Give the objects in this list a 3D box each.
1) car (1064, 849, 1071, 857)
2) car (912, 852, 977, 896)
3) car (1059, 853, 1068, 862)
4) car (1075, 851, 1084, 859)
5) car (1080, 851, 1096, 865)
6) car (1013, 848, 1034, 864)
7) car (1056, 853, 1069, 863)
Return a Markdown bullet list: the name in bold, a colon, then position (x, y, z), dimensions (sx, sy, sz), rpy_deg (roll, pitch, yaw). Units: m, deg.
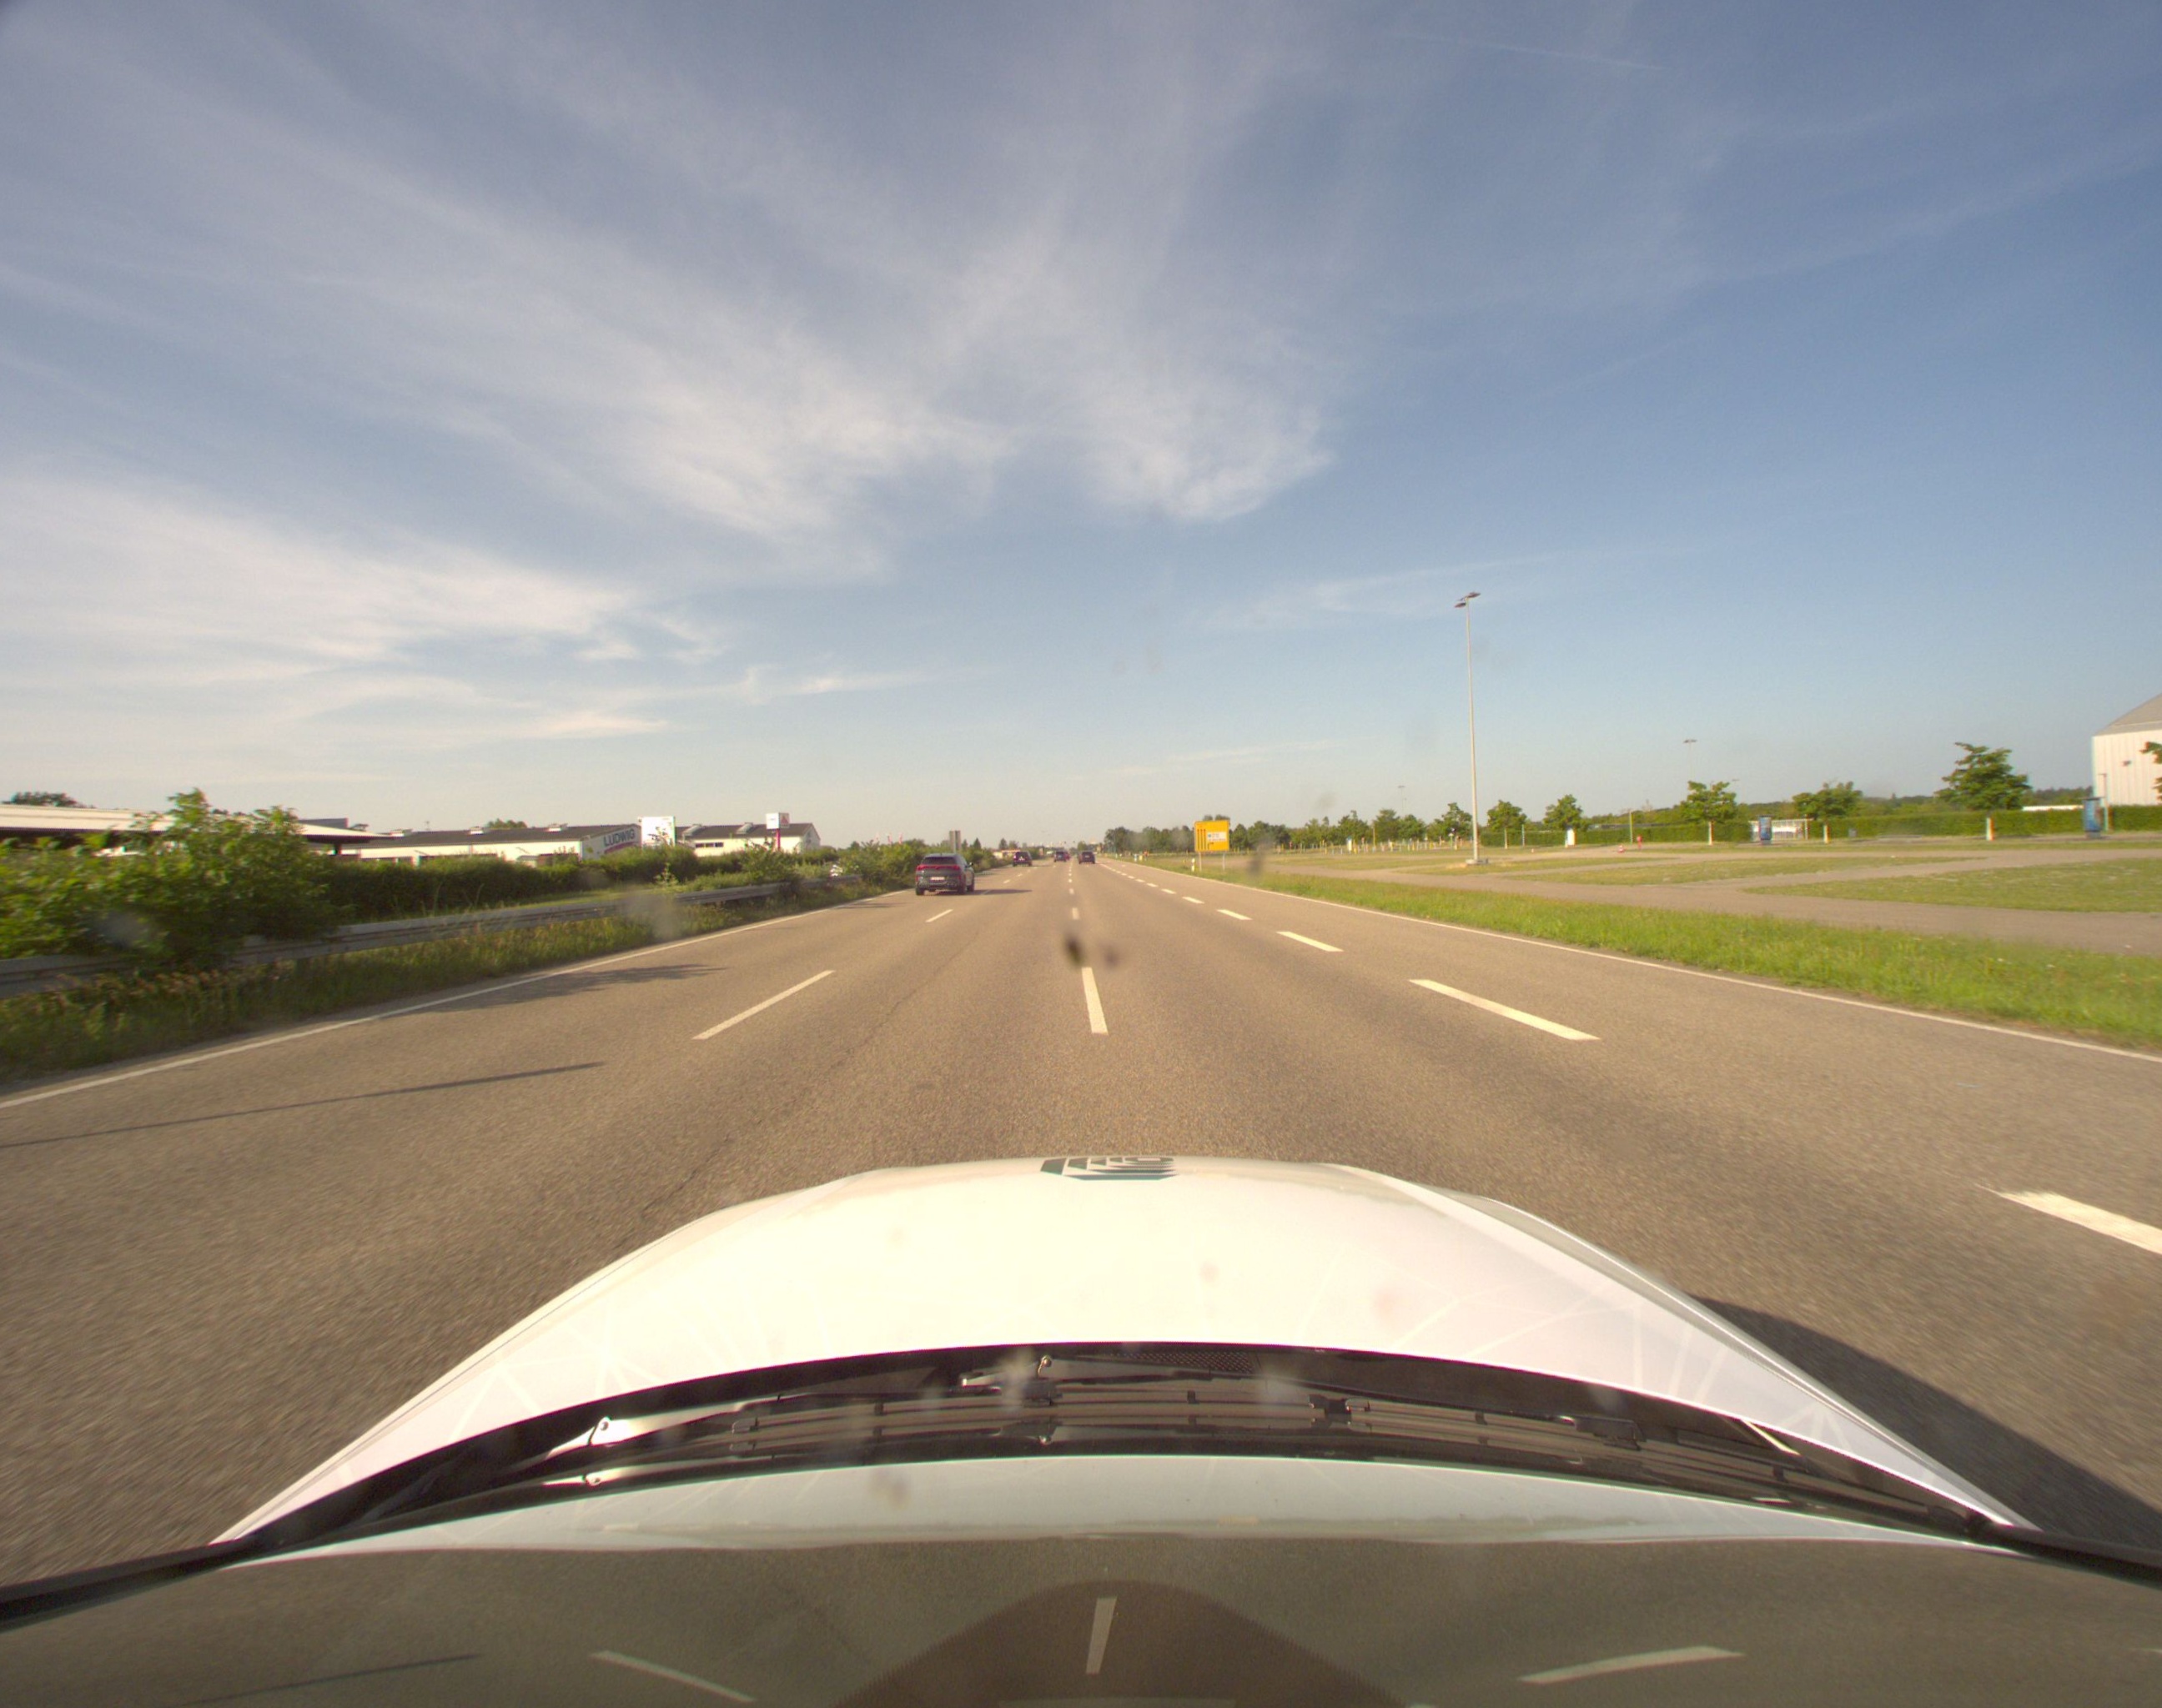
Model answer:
- **car**: position (-3.257, -0.251, 196.963), dimensions (1.640, 1.728, 3.399), rpy_deg (0, -1, -1)
- **car**: position (-5.273, 0.731, 31.931), dimensions (1.840, 1.612, 4.399), rpy_deg (1, 0, -1)
- **car**: position (-3.075, 0.640, 145.406), dimensions (1.642, 1.463, 3.979), rpy_deg (1, 0, -1)
- **car**: position (-0.409, 0.299, 197.082), dimensions (1.986, 1.783, 4.001), rpy_deg (-1, -1, 2)
- **car**: position (0.827, 0.511, 100.067), dimensions (1.927, 1.680, 4.399), rpy_deg (1, 0, -1)
- **car**: position (-6.265, 0.170, 88.851), dimensions (1.927, 1.680, 4.399), rpy_deg (1, 0, -1)
- **car**: position (-2.761, 0.634, 120.290), dimensions (1.807, 1.463, 4.399), rpy_deg (1, 0, -1)
